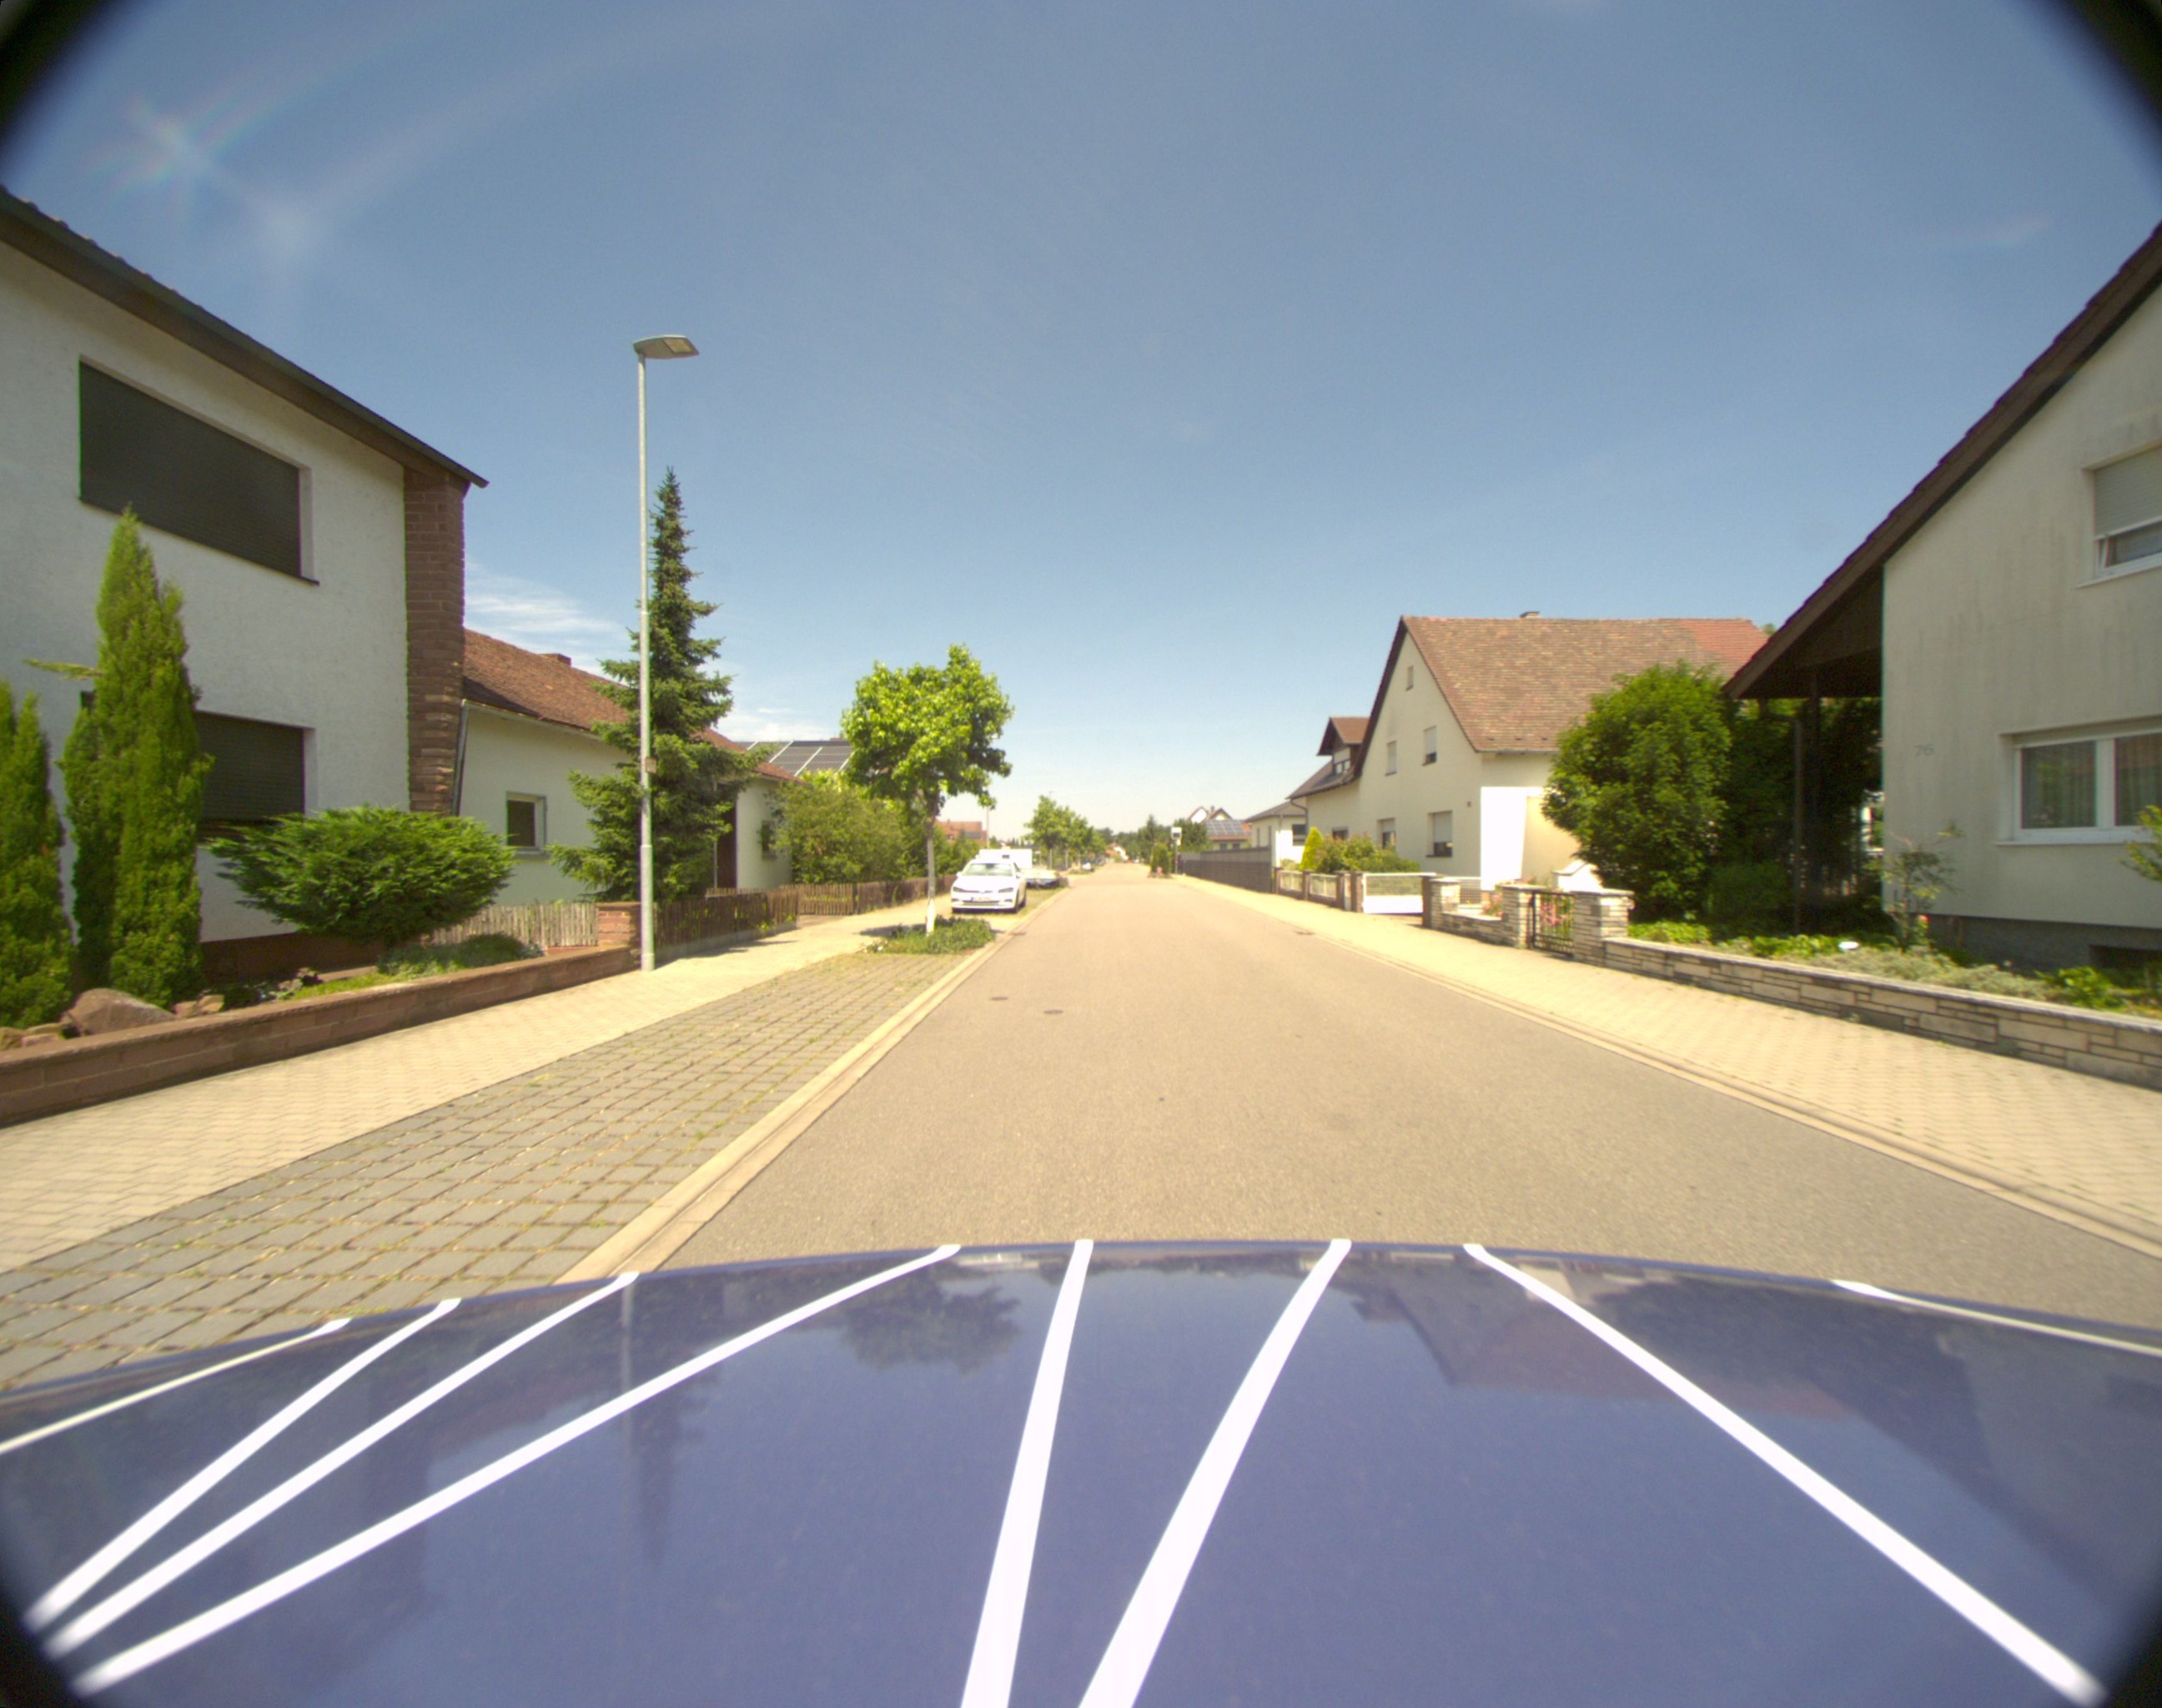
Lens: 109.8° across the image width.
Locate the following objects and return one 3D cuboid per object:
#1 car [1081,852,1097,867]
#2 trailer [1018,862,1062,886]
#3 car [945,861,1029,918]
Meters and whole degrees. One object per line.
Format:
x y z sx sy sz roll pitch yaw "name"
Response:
0.973 0.611 89.211 1.597 1.630 3.804 0 0 5 "car"
-1.905 0.931 36.050 1.792 1.052 2.899 0 0 3 "trailer"
-2.532 0.925 21.261 1.819 1.412 3.868 0 0 1 "car"
